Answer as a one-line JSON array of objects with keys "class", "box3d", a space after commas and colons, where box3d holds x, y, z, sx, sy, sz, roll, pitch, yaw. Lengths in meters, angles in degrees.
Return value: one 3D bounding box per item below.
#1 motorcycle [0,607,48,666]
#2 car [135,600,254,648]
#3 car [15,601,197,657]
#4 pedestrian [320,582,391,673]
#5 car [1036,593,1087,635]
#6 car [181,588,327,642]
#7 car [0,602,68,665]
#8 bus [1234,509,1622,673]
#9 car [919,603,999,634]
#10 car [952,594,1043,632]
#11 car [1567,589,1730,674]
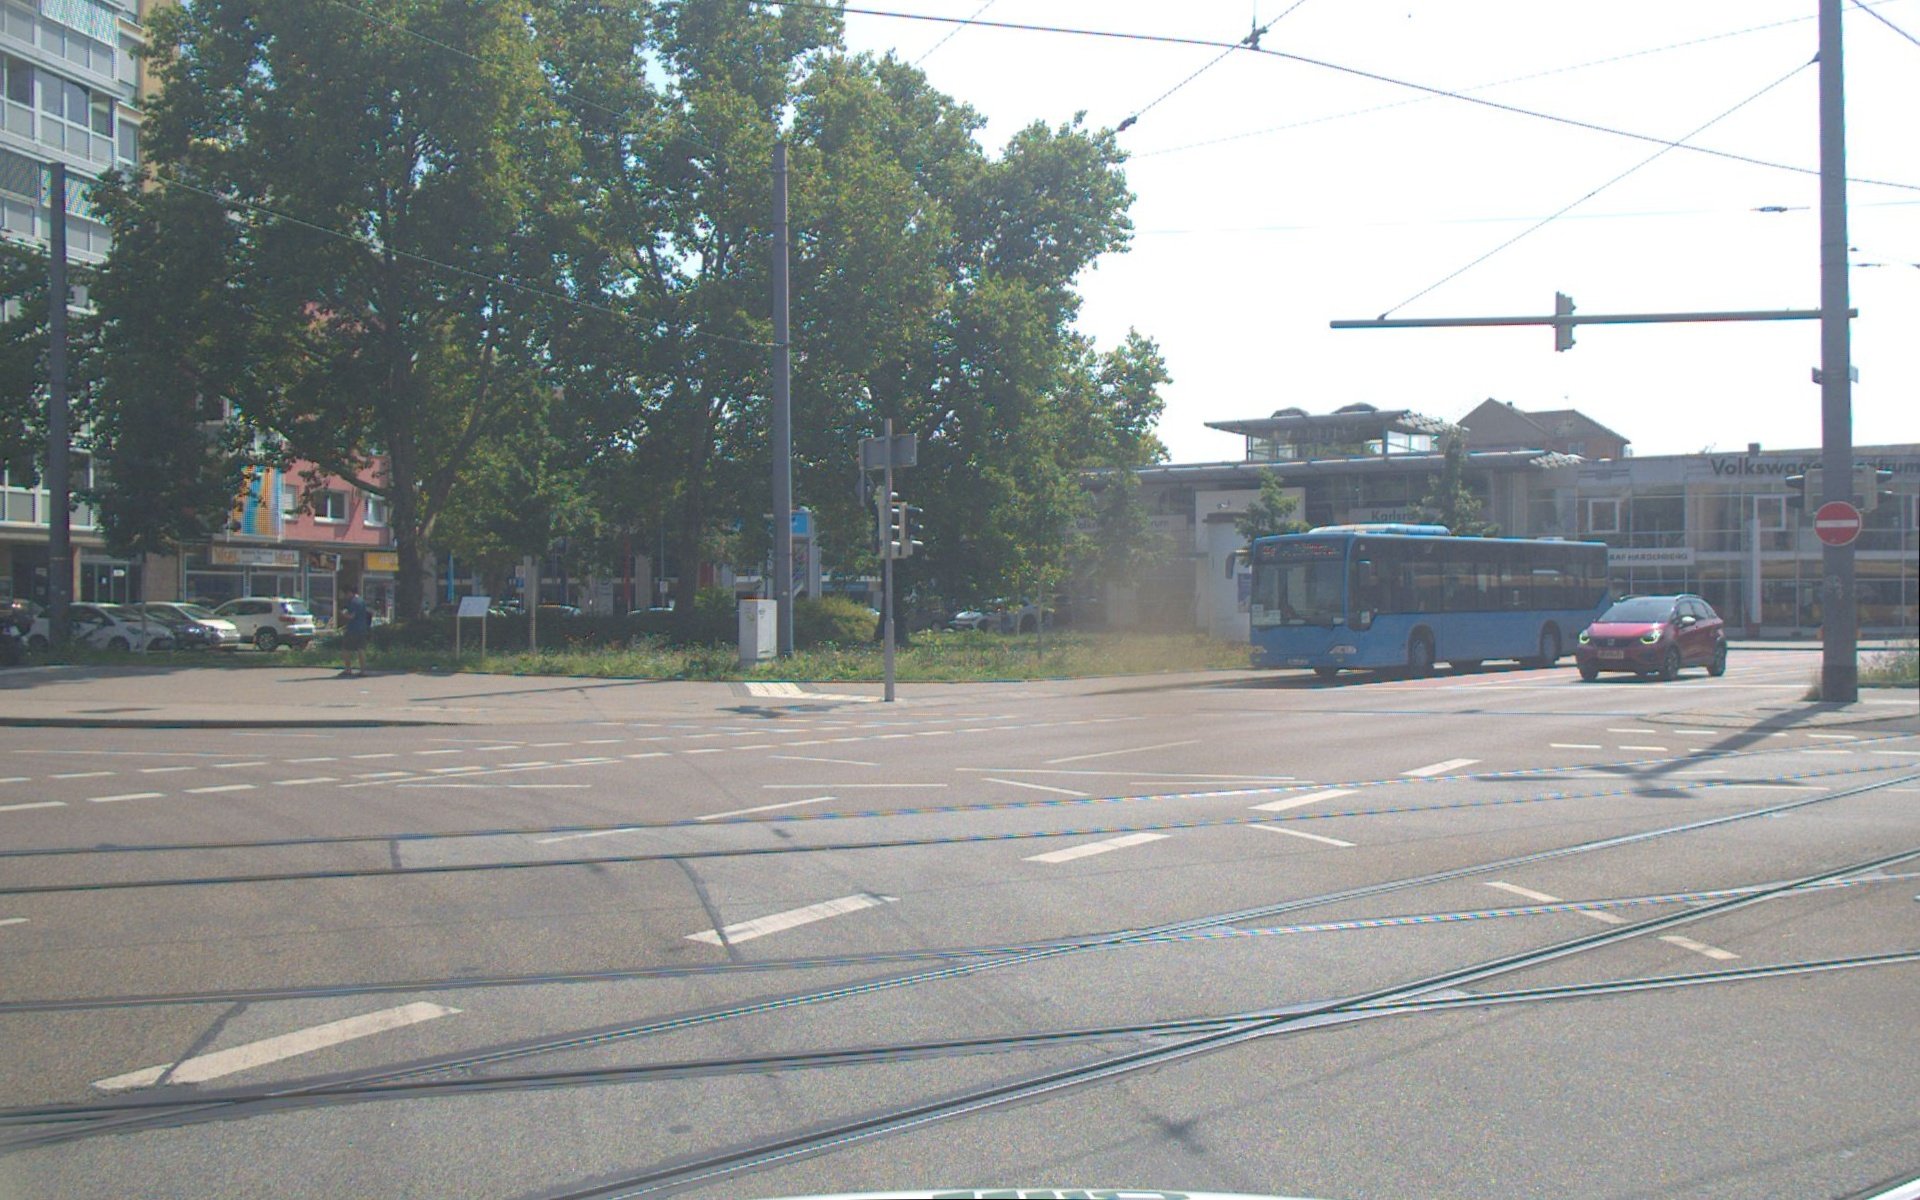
[{"class": "motorcycle", "box3d": [-19.512, 0.723, 33.350, 2.063, 1.156, 0.912, -1, 0, 25]}, {"class": "car", "box3d": [-23.378, 0.726, 50.525, 3.022, 1.454, 1.405, 0, 0, 10]}, {"class": "car", "box3d": [-23.532, 0.792, 45.640, 4.142, 1.496, 1.908, 0, 0, 10]}, {"class": "pedestrian", "box3d": [-11.081, 0.493, 30.355, 0.926, 1.637, 0.794, -1, 0, 9]}, {"class": "car", "box3d": [5.334, 0.702, 86.381, 2.277, 2.049, 6.814, 1, 0, 6]}, {"class": "car", "box3d": [-22.571, 0.481, 52.937, 3.973, 1.695, 1.792, 0, 0, 10]}, {"class": "car", "box3d": [-24.454, 0.806, 40.639, 4.142, 1.496, 1.908, 0, 0, 10]}, {"class": "bus", "box3d": [10.718, -0.182, 36.547, 11.991, 3.118, 2.690, 0, 0, -45]}, {"class": "car", "box3d": [-0.044, 0.952, 85.018, 1.965, 1.534, 3.976, 0, 0, 42]}, {"class": "car", "box3d": [1.834, 0.609, 81.207, 4.198, 1.784, 1.700, 0, 0, -28]}, {"class": "car", "box3d": [13.054, 0.553, 31.275, 1.602, 1.497, 3.746, 0, 0, 44]}]
